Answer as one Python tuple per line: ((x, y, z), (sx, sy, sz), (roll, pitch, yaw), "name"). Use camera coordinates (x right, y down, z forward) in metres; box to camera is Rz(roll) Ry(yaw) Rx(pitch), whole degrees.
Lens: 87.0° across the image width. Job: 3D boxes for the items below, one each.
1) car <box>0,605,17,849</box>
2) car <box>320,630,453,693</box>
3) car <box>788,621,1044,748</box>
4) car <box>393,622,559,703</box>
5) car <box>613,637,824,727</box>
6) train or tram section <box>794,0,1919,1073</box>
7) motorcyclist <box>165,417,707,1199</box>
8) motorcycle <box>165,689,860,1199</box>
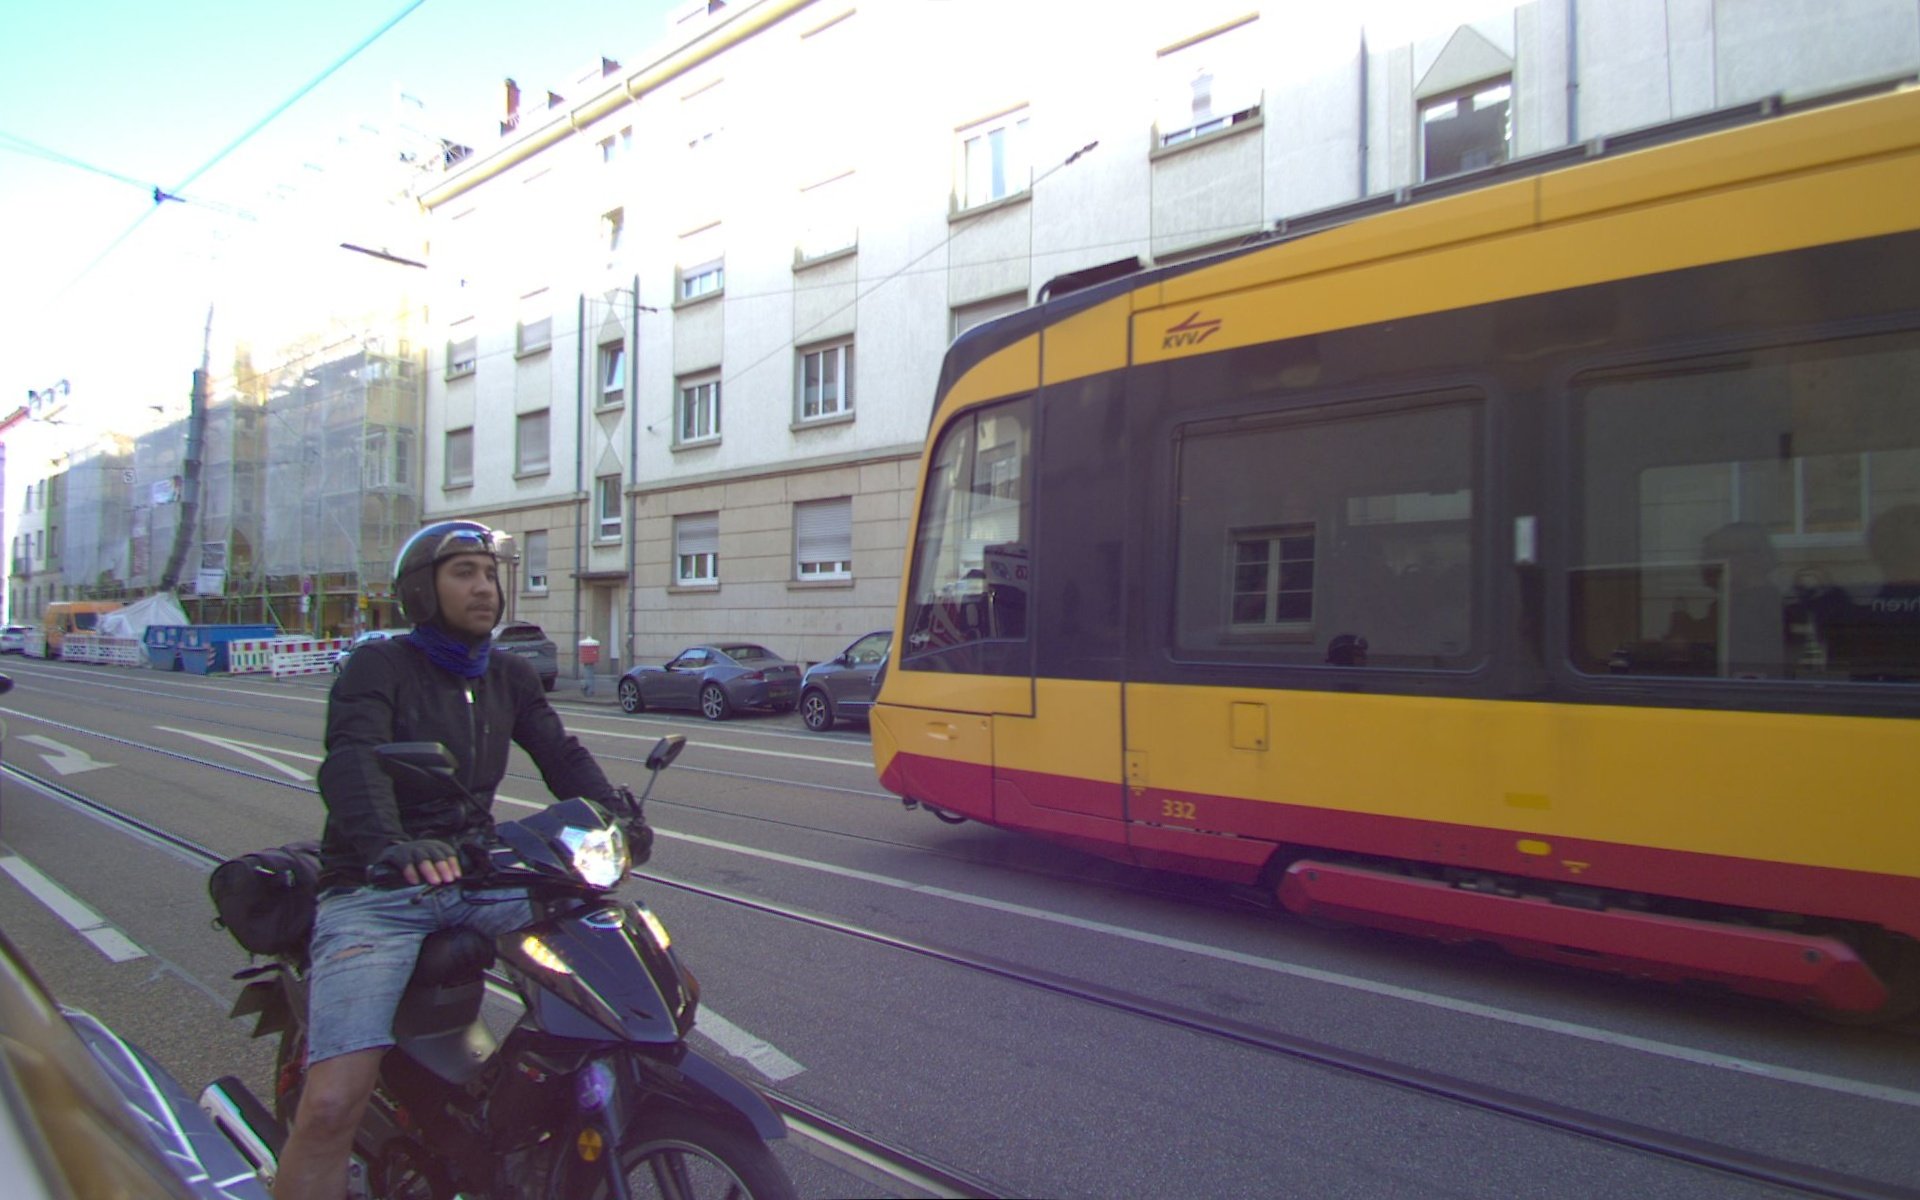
((-7.983, 0.804, 6.989), (3.997, 1.515, 1.670), (-1, -3, 40), "car")
((-14.482, 1.493, 25.506), (3.639, 1.402, 1.617), (-1, 0, 37), "car")
((-0.688, 1.117, 14.700), (3.493, 1.584, 1.650), (-1, 0, 38), "car")
((-10.883, 1.314, 22.648), (4.108, 1.603, 1.691), (-1, 0, 38), "car")
((-4.218, 1.342, 17.522), (3.483, 1.286, 1.730), (-1, 0, 37), "car")
((4.906, -0.354, 3.415), (12.613, 3.621, 3.032), (-1, -3, 38), "train or tram section")
((-1.077, 0.464, 2.142), (0.598, 1.516, 0.851), (-1, 0, 41), "motorcyclist")
((-1.079, 0.865, 2.094), (1.980, 1.228, 0.532), (-1, 0, 41), "motorcycle")
